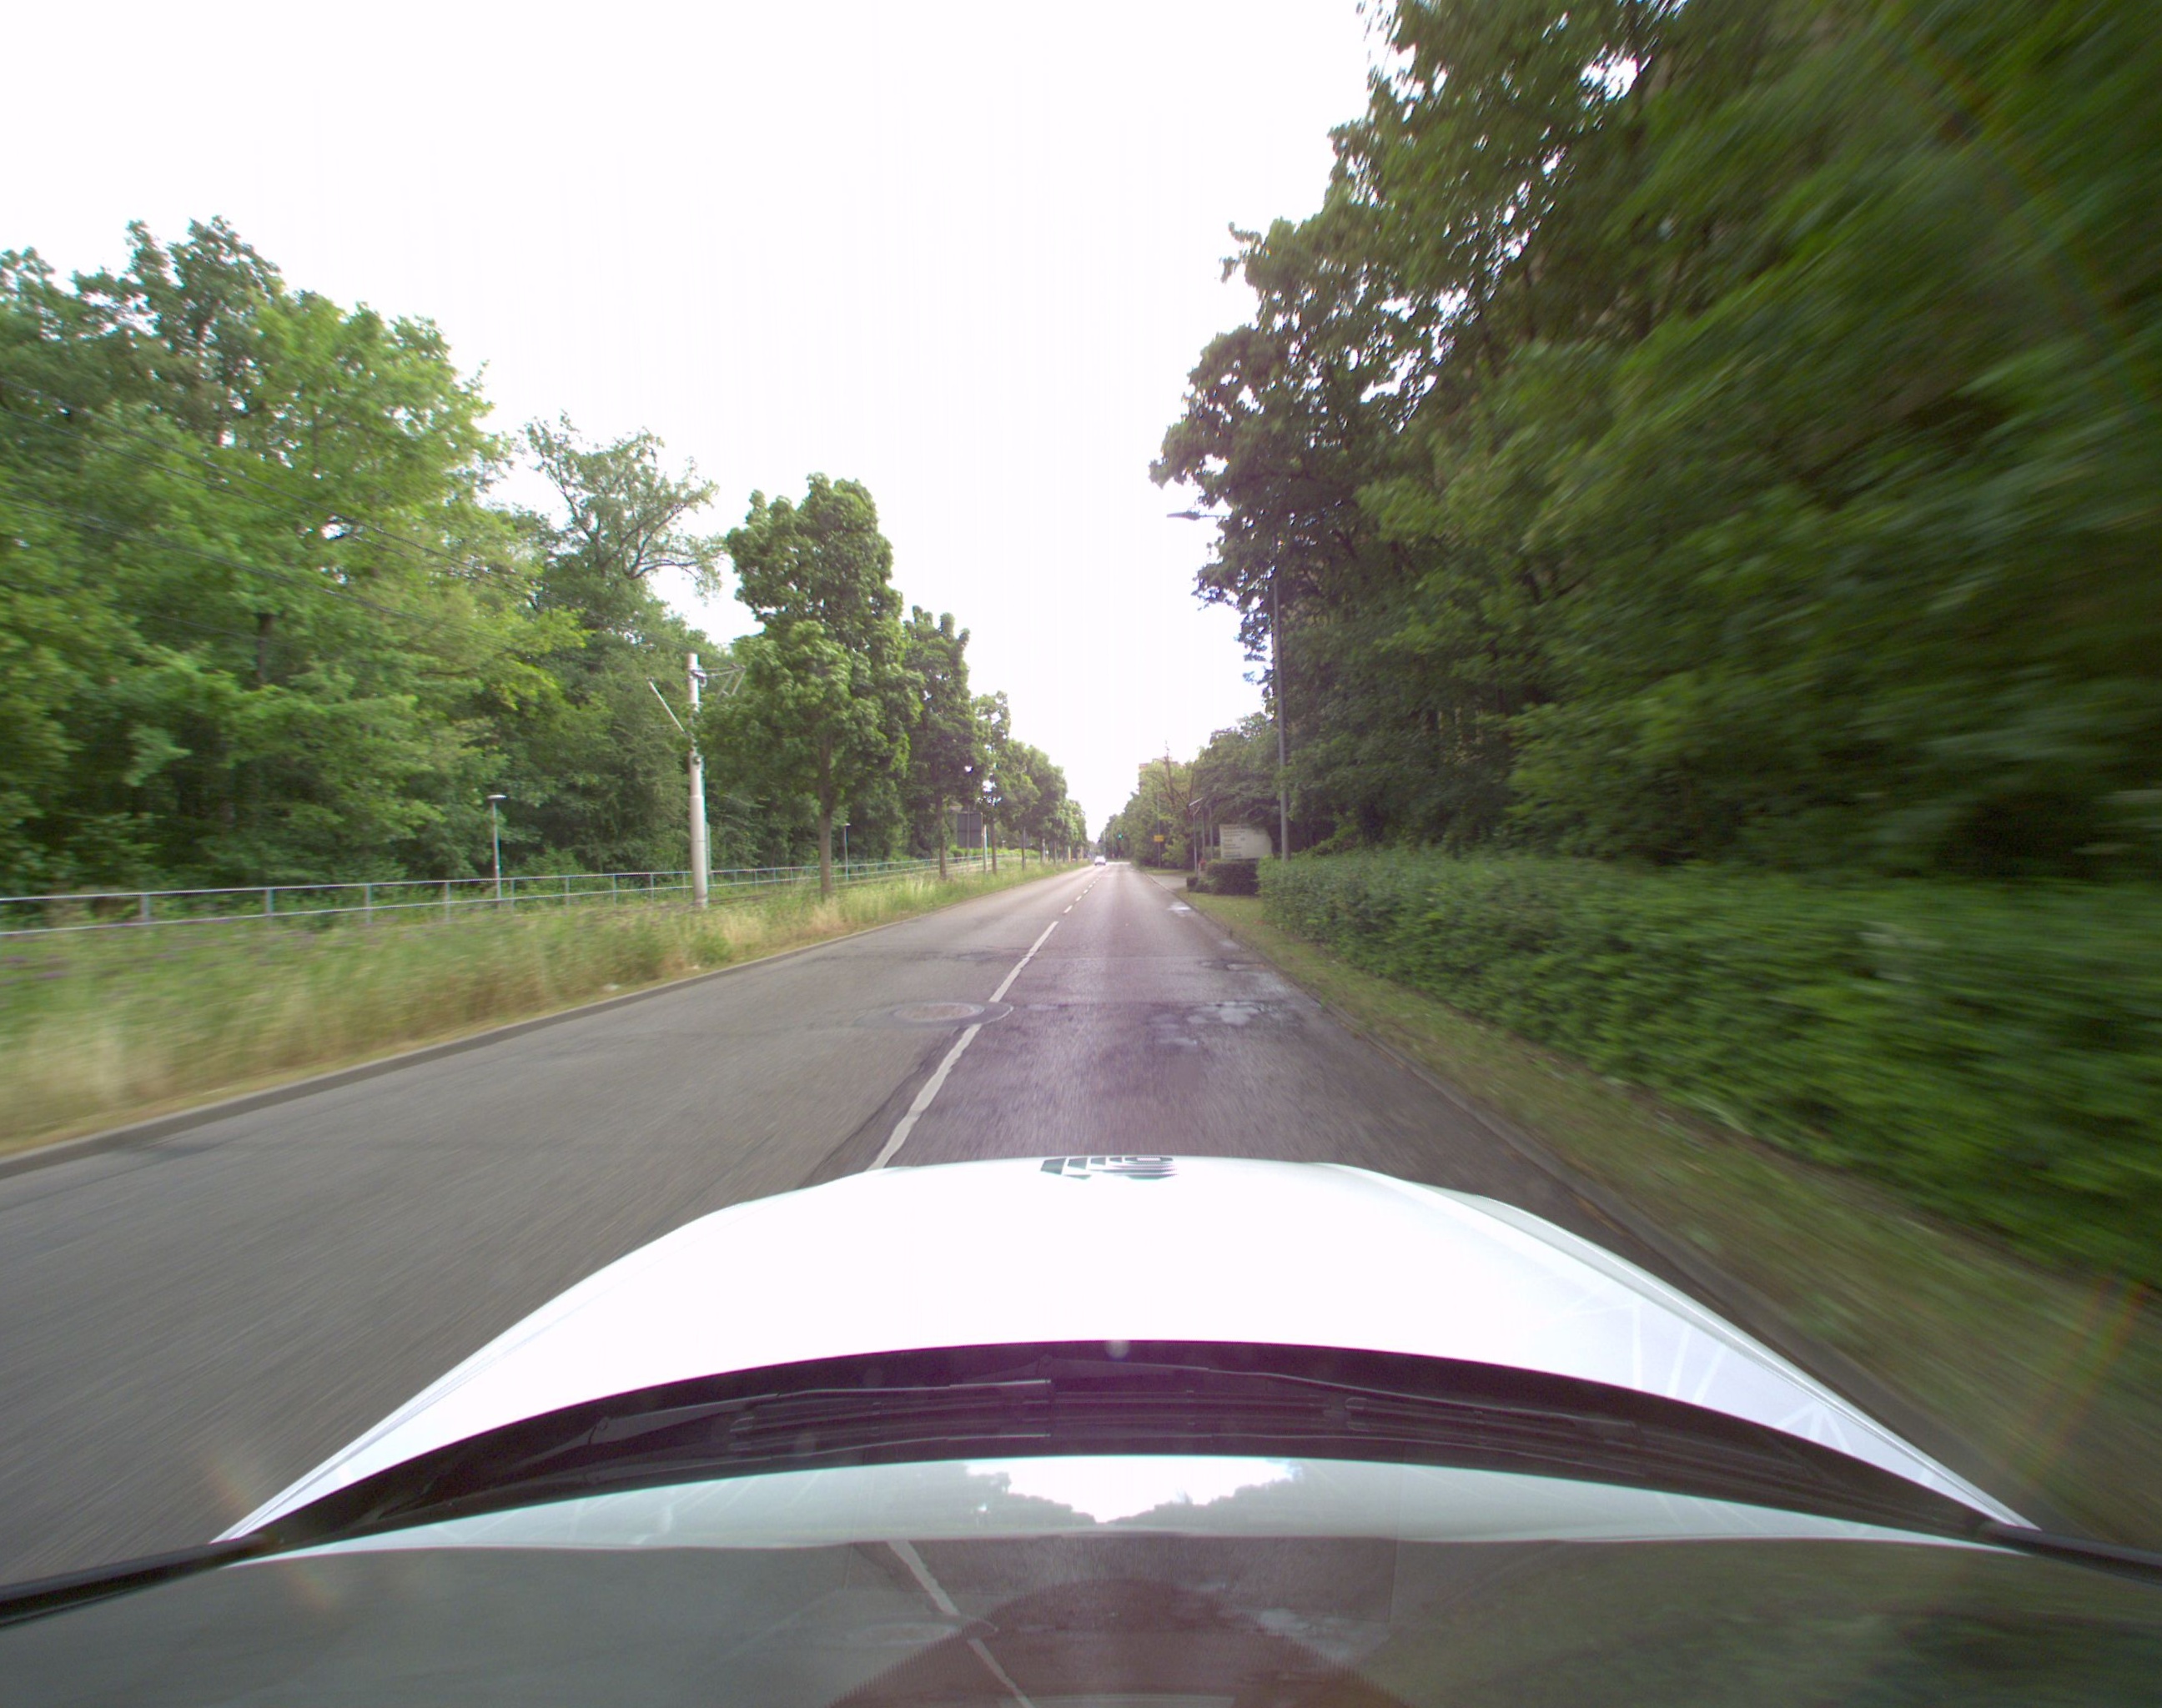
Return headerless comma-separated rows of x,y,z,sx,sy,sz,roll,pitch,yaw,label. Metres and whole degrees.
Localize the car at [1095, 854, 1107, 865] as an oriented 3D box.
3.310,0.895,134.068,1.709,1.629,4.003,1,0,3,car
